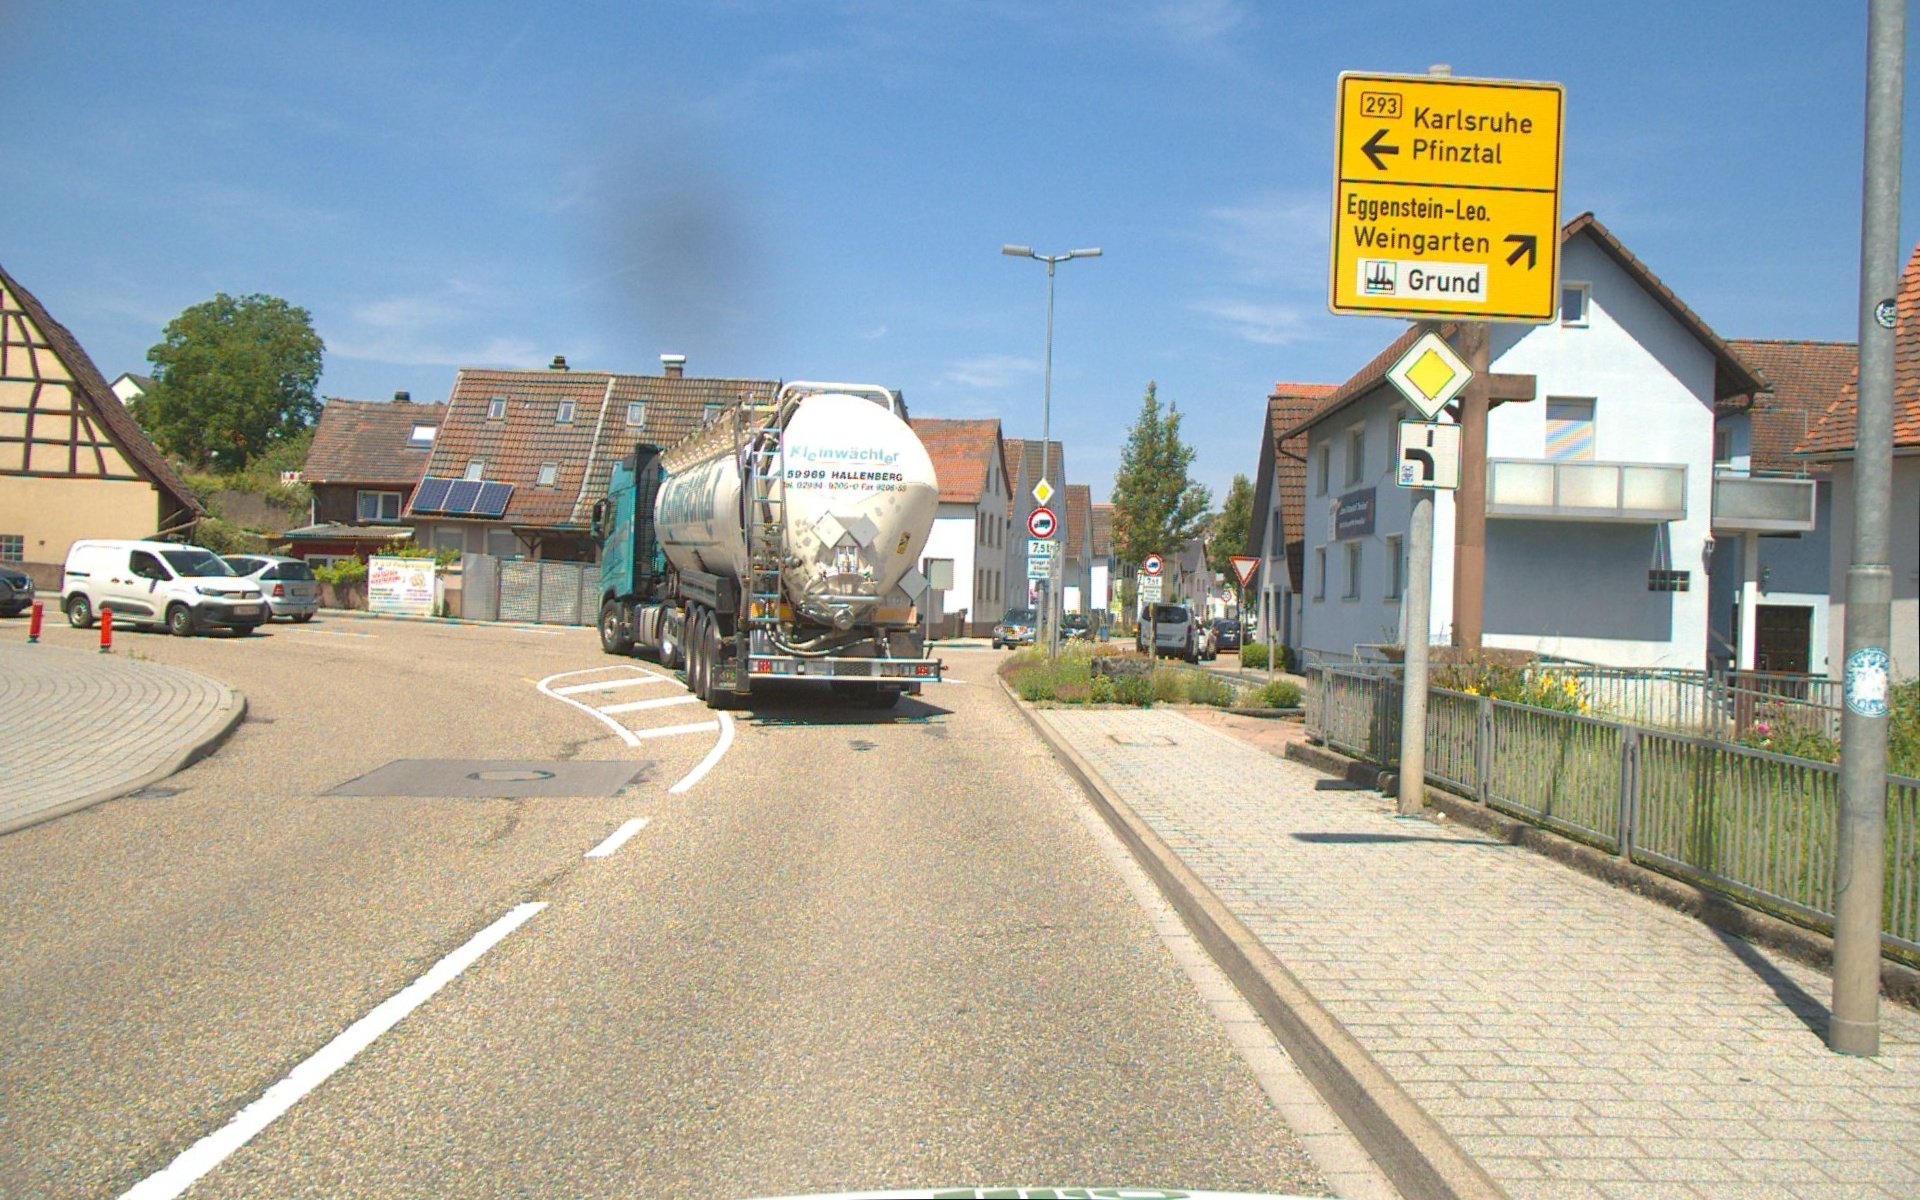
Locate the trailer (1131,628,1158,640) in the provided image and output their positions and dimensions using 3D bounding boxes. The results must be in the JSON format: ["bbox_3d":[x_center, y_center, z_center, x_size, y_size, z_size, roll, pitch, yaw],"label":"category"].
[{"bbox_3d":[14.004,2.568,125.511,1.909,0.791,2.721,3,0,5],"label":"trailer"}]

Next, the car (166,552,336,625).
[{"bbox_3d":[-16.827,-0.269,39.250,3.523,1.613,1.786,2,-1,26],"label":"car"}]

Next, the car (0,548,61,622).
[{"bbox_3d":[-22.167,-0.419,36.312,3.902,1.550,1.799,4,0,9],"label":"car"}]

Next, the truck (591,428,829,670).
[{"bbox_3d":[-4.850,-0.873,31.156,2.949,4.034,5.536,2,0,-24],"label":"truck"}]

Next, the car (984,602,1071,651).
[{"bbox_3d":[2.673,1.057,64.245,1.953,1.704,4.311,3,-1,22],"label":"car"}]

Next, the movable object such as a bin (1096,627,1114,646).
[{"bbox_3d":[8.937,2.252,102.126,0.900,1.067,0.944,3,0,14],"label":"movable object such as a bin"}]

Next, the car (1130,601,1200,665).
[{"bbox_3d":[6.912,1.129,55.406,1.951,1.945,4.327,3,-2,11],"label":"car"}]

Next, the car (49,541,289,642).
[{"bbox_3d":[-16.324,-0.186,34.132,4.414,1.816,1.880,3,1,20],"label":"car"}]

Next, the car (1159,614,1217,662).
[{"bbox_3d":[8.706,1.429,62.972,1.778,1.663,4.210,2,0,13],"label":"car"}]

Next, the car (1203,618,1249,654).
[{"bbox_3d":[12.994,1.721,80.571,1.951,1.612,4.003,3,0,12],"label":"car"}]

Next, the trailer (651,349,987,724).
[{"bbox_3d":[-2.585,-0.709,24.104,2.903,4.016,11.575,3,0,-14],"label":"trailer"}]

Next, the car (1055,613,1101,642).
[{"bbox_3d":[6.971,1.614,97.096,1.682,1.624,4.001,2,0,19],"label":"car"}]

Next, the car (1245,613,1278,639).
[{"bbox_3d":[19.500,1.671,106.911,1.951,1.612,4.003,2,0,12],"label":"car"}]

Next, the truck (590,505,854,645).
[{"bbox_3d":[-6.204,-0.562,44.433,2.615,3.237,7.438,1,-2,34],"label":"truck"}]
